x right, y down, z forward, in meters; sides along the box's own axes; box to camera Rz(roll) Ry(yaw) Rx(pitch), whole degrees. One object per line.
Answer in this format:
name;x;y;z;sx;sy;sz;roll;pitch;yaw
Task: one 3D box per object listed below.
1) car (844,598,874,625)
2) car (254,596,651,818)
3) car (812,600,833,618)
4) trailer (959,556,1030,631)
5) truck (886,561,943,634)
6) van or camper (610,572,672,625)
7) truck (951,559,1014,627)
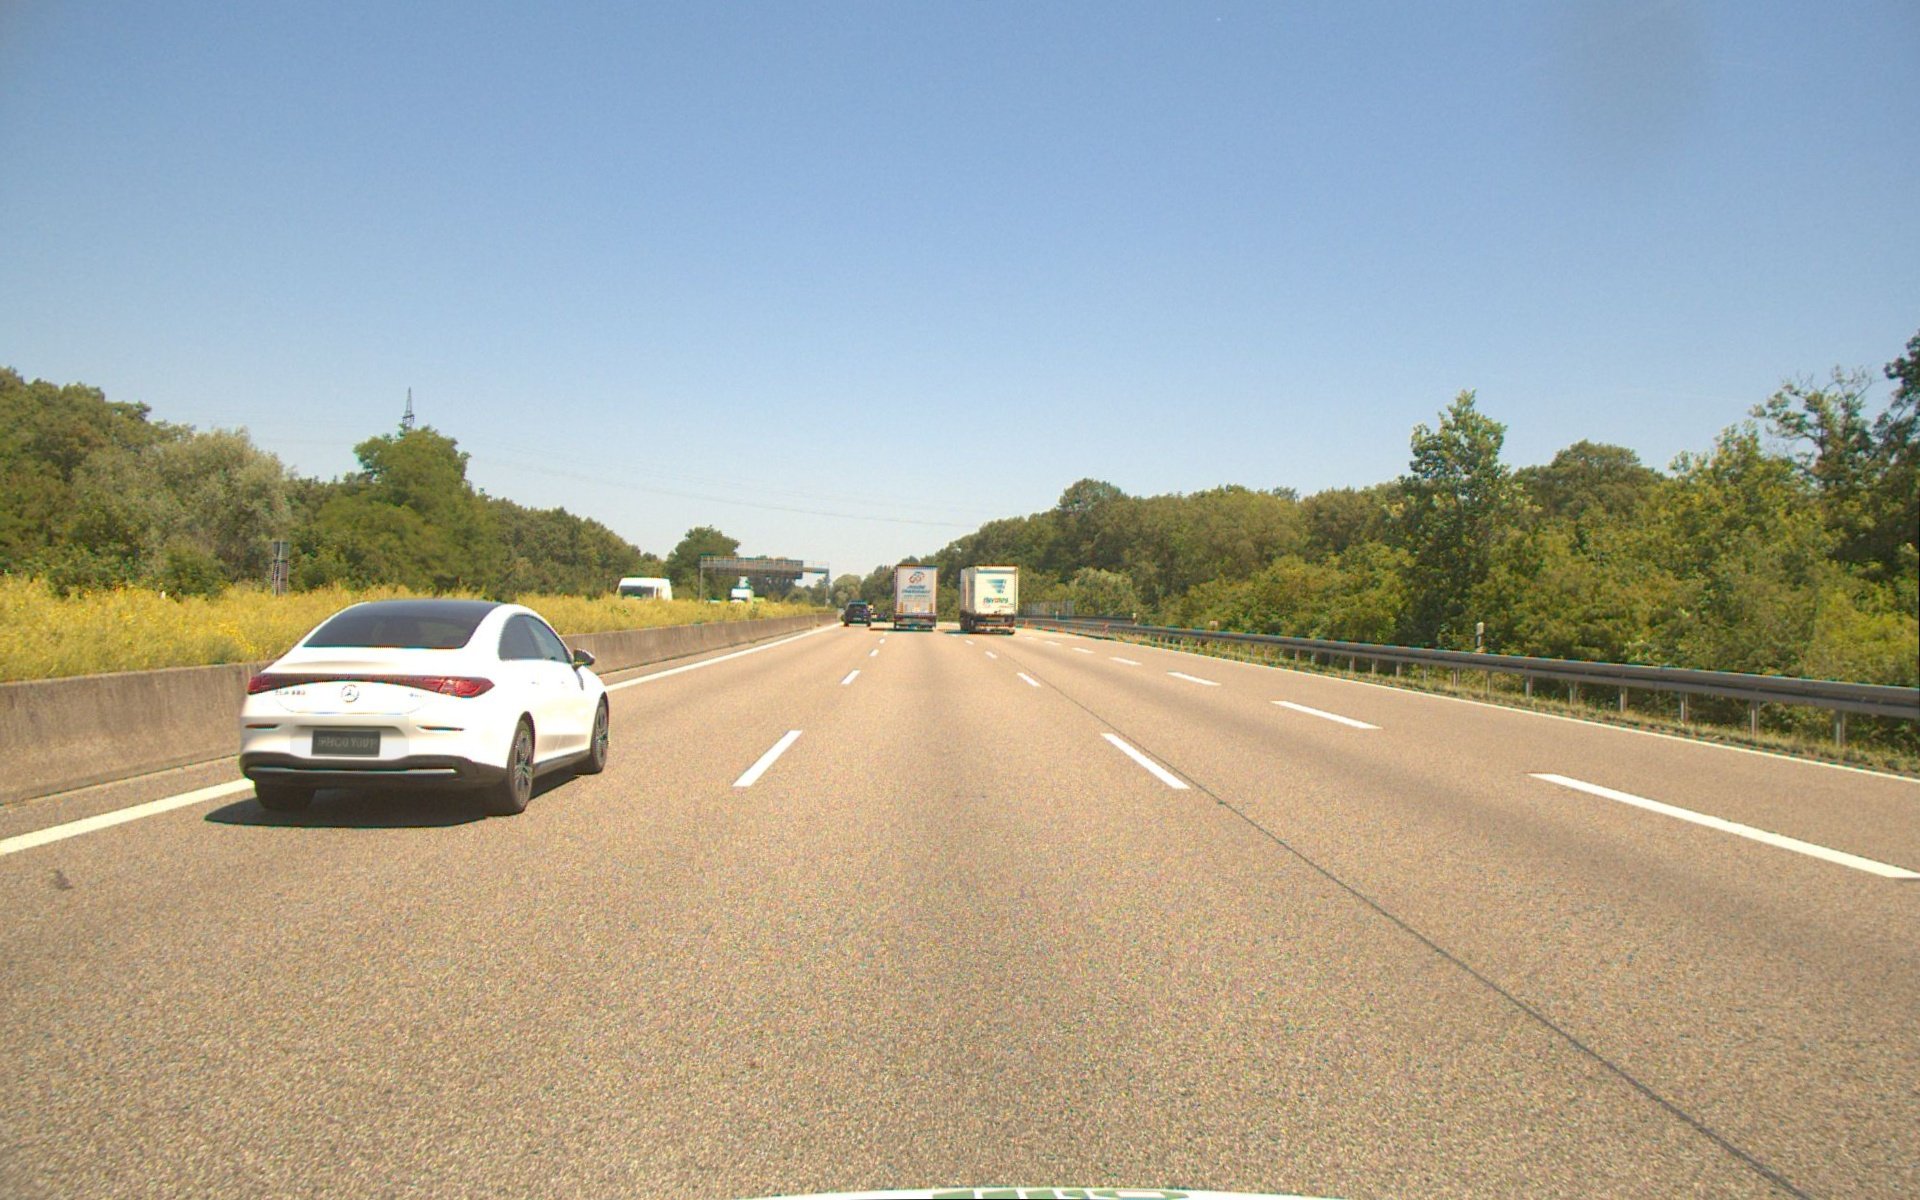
car;-7.409;0.830;121.207;1.955;1.907;3.995;1;1;-6
car;-3.883;0.722;13.660;1.731;1.474;5.107;1;0;-1
car;-16.288;1.032;196.045;2.246;2.049;4.709;1;0;-2
trailer;1.958;-0.410;98.783;3.301;4.215;9.084;1;1;-4
truck;-2.908;-0.173;102.944;3.165;4.275;8.460;1;0;-4
van or camper;-15.336;-0.069;79.800;2.206;2.429;6.752;1;0;-5
truck;1.354;-0.486;108.212;3.260;4.123;10.947;1;1;-3
